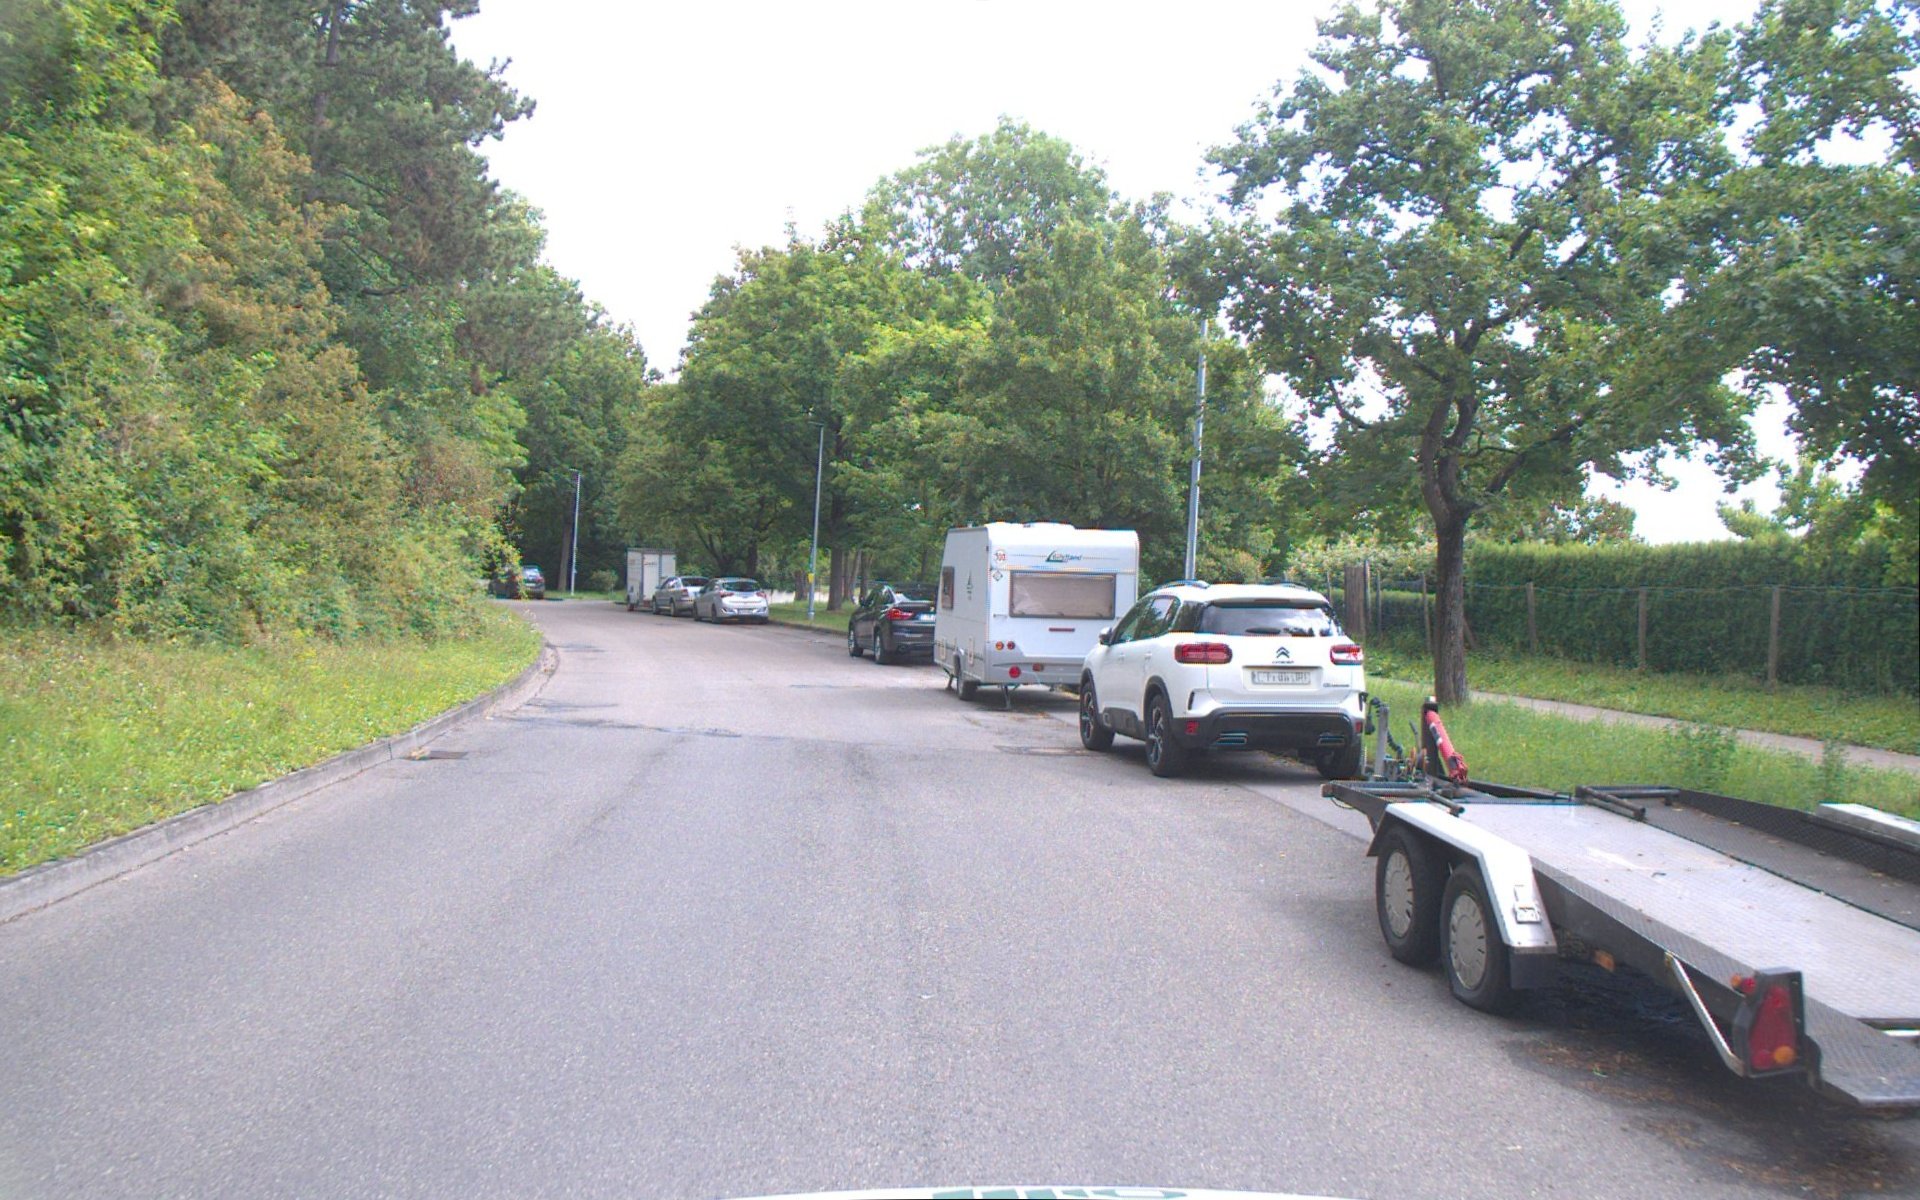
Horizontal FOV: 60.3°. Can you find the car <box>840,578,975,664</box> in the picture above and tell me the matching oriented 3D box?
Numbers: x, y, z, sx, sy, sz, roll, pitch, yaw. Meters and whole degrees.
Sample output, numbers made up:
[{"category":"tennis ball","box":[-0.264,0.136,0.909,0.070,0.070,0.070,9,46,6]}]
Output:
[{"category":"car","box":[-1.186,0.404,35.015,1.818,1.671,4.512,1,0,-15]}]

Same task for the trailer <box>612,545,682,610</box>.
[{"category":"trailer","box":[-12.403,-0.903,65.361,1.739,2.469,3.854,1,0,-26]}]

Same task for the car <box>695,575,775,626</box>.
[{"category":"car","box":[-7.434,0.056,54.371,1.873,1.502,4.037,3,-2,-18]}]

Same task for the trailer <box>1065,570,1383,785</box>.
[{"category":"trailer","box":[2.349,0.667,16.013,1.739,1.761,4.641,0,-1,-8]}]

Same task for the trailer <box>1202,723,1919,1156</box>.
[{"category":"trailer","box":[2.928,1.158,7.582,2.064,0.662,6.393,2,0,-6]}]

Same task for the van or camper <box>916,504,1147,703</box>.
[{"category":"van or camper","box":[0.898,0.054,25.070,2.122,2.580,6.016,2,0,-10]}]

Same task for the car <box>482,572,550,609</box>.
[{"category":"car","box":[-21.984,-0.486,81.838,1.759,1.691,4.784,3,-1,-33]}]

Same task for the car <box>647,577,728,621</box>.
[{"category":"car","box":[-10.009,-0.061,60.559,1.720,1.552,4.597,1,0,-26]}]
